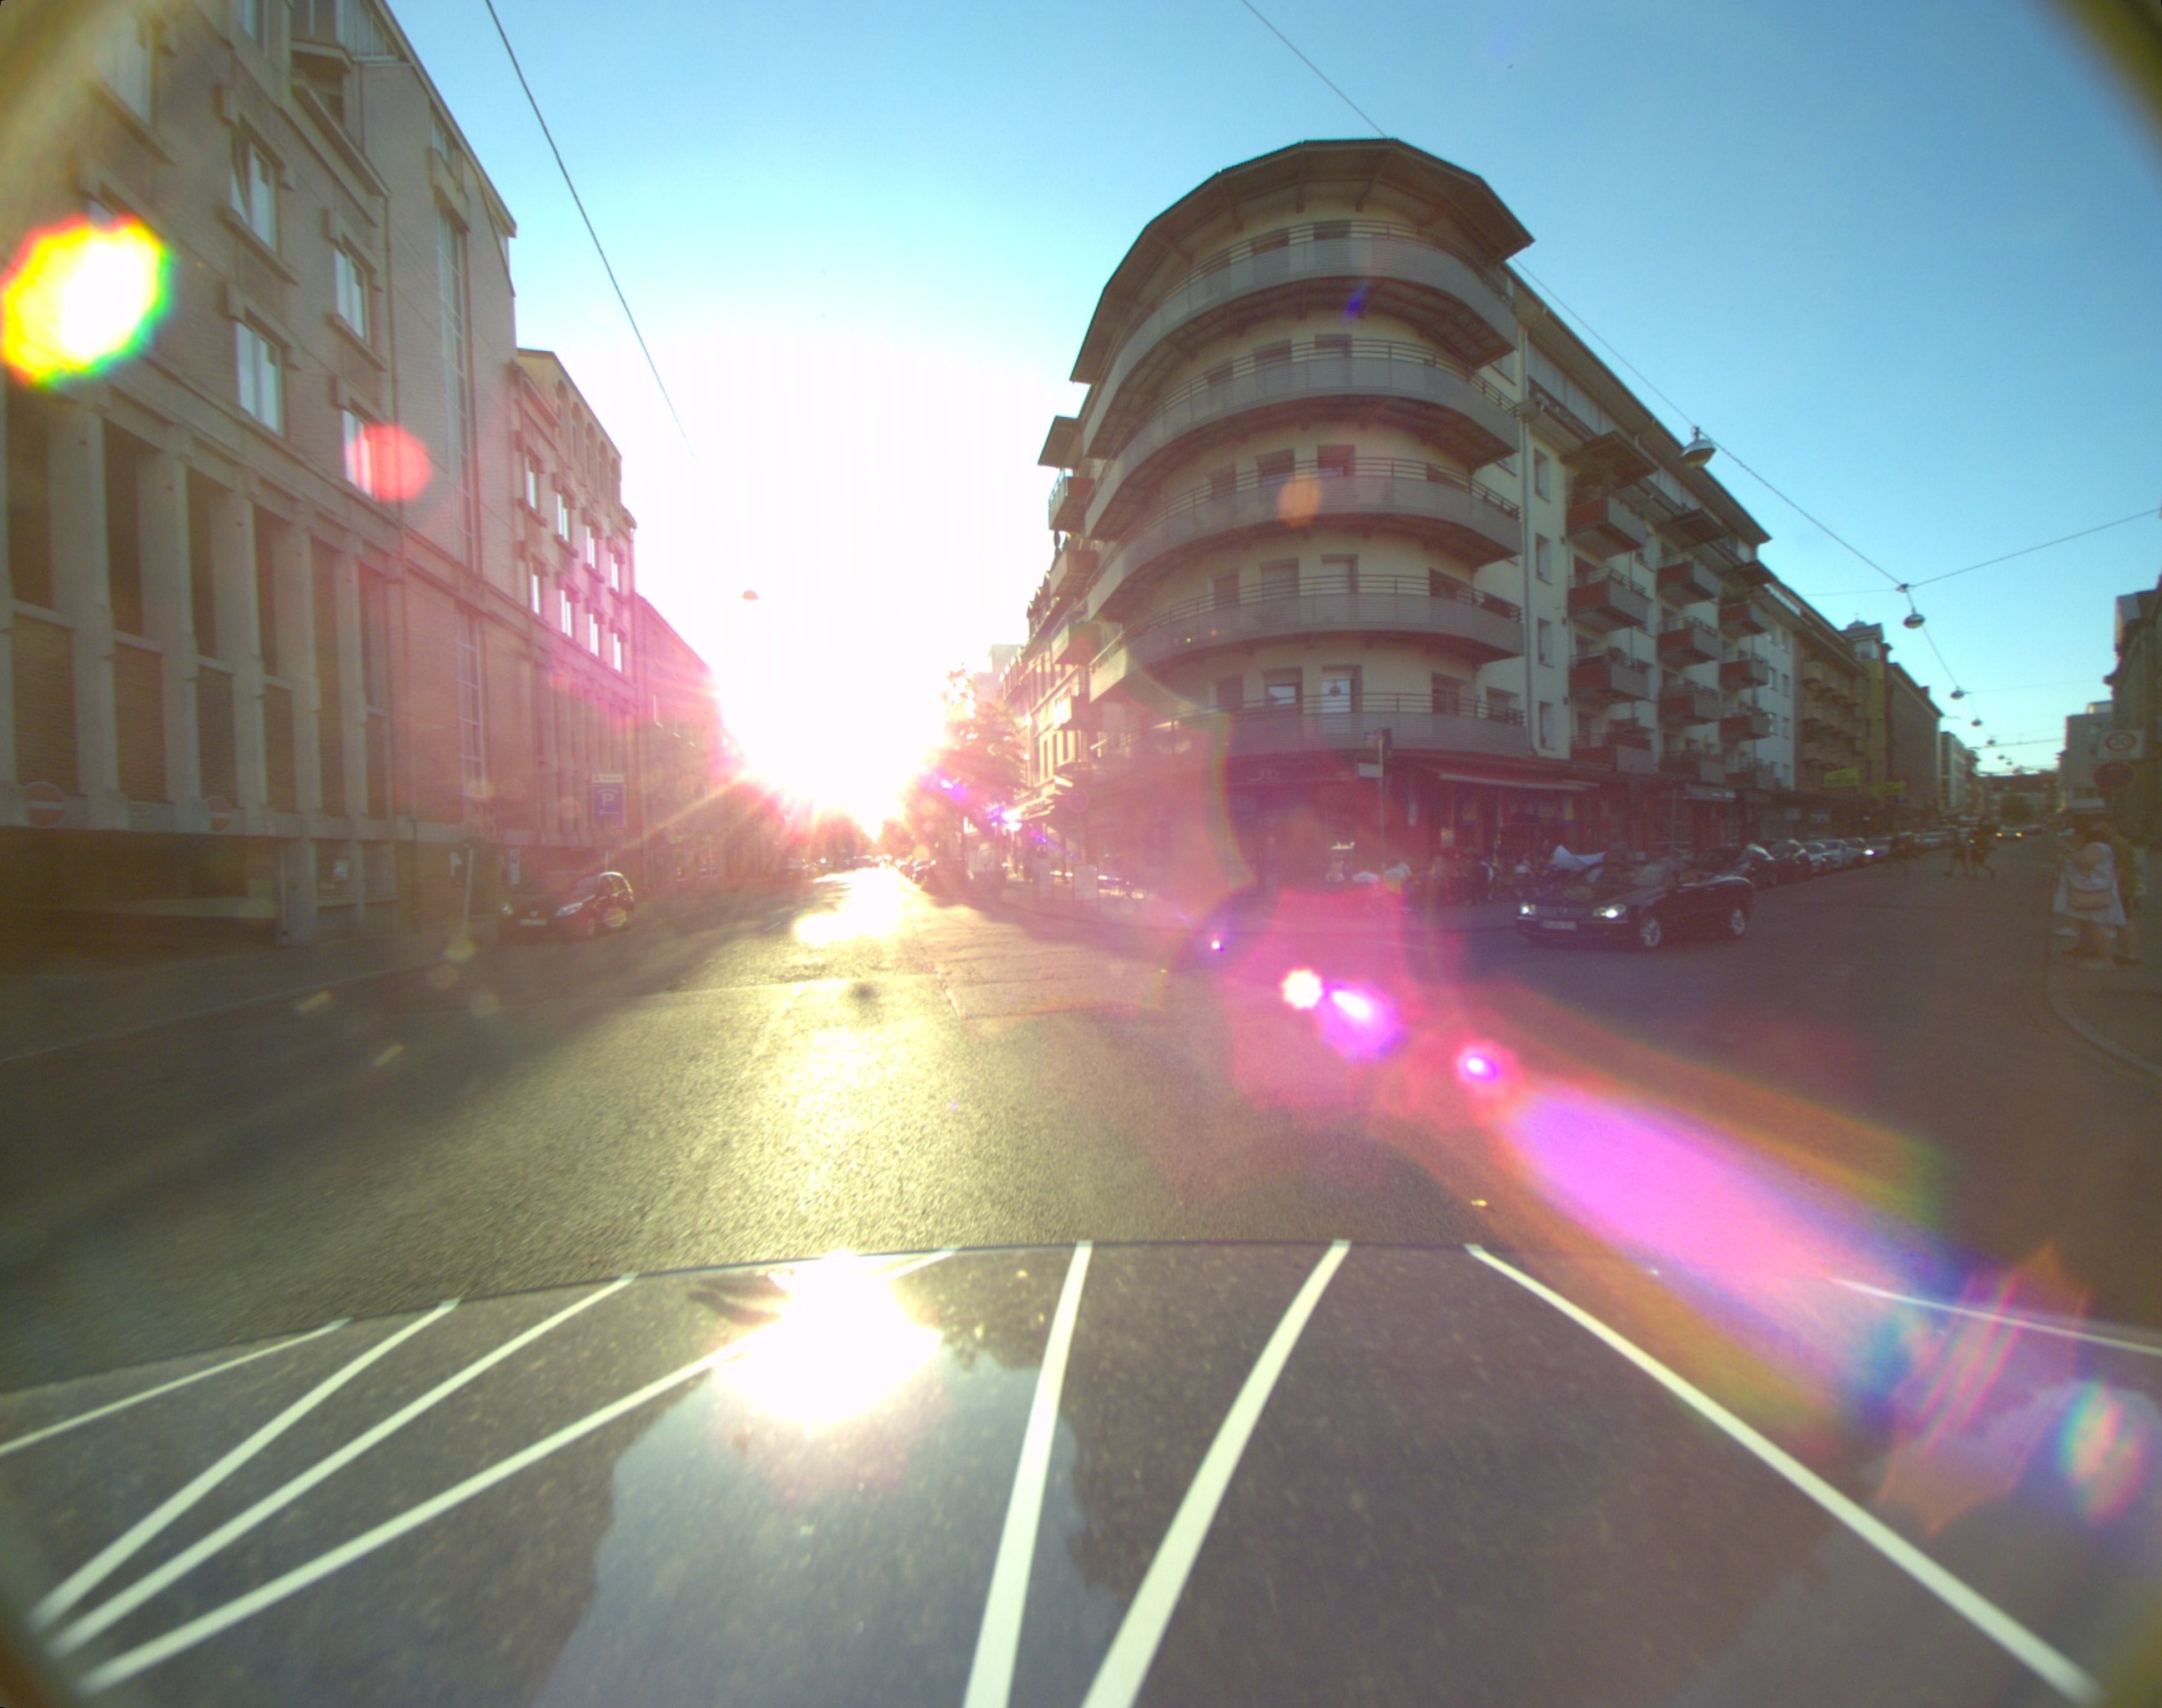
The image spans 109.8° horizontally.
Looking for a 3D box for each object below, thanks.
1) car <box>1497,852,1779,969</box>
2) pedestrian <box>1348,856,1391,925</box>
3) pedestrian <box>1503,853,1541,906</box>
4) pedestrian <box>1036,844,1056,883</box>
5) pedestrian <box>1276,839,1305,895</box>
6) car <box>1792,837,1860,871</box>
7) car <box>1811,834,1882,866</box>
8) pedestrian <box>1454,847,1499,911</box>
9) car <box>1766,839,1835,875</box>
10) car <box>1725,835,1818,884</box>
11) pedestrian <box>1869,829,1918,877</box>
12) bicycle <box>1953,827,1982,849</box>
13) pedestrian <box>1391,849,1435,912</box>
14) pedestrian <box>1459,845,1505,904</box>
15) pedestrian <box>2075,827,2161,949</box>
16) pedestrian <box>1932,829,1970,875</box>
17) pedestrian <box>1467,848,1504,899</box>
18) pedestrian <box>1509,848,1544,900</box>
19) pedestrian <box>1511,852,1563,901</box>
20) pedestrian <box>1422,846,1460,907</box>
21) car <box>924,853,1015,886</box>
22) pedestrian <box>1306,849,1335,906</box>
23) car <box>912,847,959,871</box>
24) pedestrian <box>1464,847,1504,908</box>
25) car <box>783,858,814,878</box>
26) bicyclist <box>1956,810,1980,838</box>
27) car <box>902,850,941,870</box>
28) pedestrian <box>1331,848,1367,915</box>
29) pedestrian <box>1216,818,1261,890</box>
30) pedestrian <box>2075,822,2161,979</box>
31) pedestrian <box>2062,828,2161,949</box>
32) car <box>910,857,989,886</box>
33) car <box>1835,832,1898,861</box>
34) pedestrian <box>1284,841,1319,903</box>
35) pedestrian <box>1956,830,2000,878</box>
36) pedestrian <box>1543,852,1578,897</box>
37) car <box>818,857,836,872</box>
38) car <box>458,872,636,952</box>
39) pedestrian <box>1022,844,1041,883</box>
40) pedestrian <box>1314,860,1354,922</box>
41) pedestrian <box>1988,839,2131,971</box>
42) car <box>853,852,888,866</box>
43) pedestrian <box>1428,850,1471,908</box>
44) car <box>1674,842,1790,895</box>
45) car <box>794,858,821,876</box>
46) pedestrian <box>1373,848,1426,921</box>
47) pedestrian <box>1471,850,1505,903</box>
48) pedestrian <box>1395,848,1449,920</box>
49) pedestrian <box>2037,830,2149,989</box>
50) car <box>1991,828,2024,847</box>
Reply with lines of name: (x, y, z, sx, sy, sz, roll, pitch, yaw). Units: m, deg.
car: (8.954, 0.761, 12.146, 4.623, 1.400, 1.806, -3, 2, -28)
pedestrian: (6.135, 0.753, 16.140, 0.769, 1.374, 0.840, -1, 2, 26)
pedestrian: (11.805, 0.664, 20.344, 0.751, 1.337, 0.653, -2, 3, -41)
pedestrian: (-1.830, 0.486, 39.506, 0.731, 1.937, 0.803, -2, 1, -20)
pedestrian: (6.748, 0.424, 24.494, 0.619, 1.766, 0.610, -2, 1, -41)
car: (35.621, 0.011, 36.301, 3.955, 1.468, 1.764, -2, -1, -38)
car: (39.209, -0.221, 38.892, 4.402, 1.468, 1.863, -2, -1, -36)
pedestrian: (9.898, 0.615, 19.020, 0.761, 1.528, 0.712, -2, 5, -42)
car: (31.324, 0.104, 33.058, 3.975, 1.395, 1.749, -2, -1, -40)
car: (26.258, 0.193, 28.852, 4.145, 1.689, 1.880, -2, -1, -38)
pedestrian: (32.247, -0.033, 30.167, 1.005, 1.816, 0.947, -2, 0, 25)
bicycle: (64.384, -1.190, 55.171, 2.826, 1.513, 1.036, -2, 1, -34)
pedestrian: (8.238, 0.648, 18.868, 0.648, 1.527, 0.752, -2, 0, -6)
pedestrian: (10.776, 0.549, 20.437, 0.681, 1.527, 0.851, -2, 0, -42)
pedestrian: (15.982, 0.507, 11.667, 0.738, 1.783, 0.810, -2, 0, -36)
pedestrian: (33.409, -0.084, 29.180, 0.704, 1.716, 0.918, -2, 1, -43)
pedestrian: (11.596, 0.551, 21.785, 0.603, 1.413, 0.713, -2, 0, -39)
pedestrian: (13.455, 0.601, 22.958, 0.851, 1.527, 0.716, -2, 0, 30)
pedestrian: (12.640, 0.607, 21.084, 0.854, 1.298, 0.876, -2, 2, -19)
pedestrian: (9.390, 0.579, 19.820, 0.656, 1.527, 0.673, -2, 3, -41)
car: (-5.851, 0.767, 39.744, 4.447, 1.533, 1.815, -2, 1, -16)
pedestrian: (7.560, 0.729, 23.951, 0.610, 1.766, 0.619, -1, 1, 44)
car: (-13.651, 0.466, 71.109, 4.003, 2.002, 1.997, -2, 1, -18)
pedestrian: (10.402, 0.590, 19.626, 0.701, 1.519, 0.648, -2, 5, -42)
car: (-23.440, 1.115, 63.121, 2.001, 1.543, 3.994, -2, 1, -16)
bicyclist: (64.531, -2.192, 55.284, 1.184, 2.002, 1.043, -3, 1, -36)
car: (-17.780, 0.682, 84.475, 4.003, 2.002, 1.997, -2, 1, -18)
pedestrian: (6.356, 0.649, 18.076, 0.713, 1.527, 0.854, -2, 0, 17)
pedestrian: (4.564, -0.005, 22.043, 0.863, 2.002, 0.813, -3, 1, -24)
pedestrian: (13.025, 0.556, 9.435, 0.854, 1.865, 0.712, -2, 0, -43)
pedestrian: (15.941, 0.509, 11.762, 0.870, 1.783, 0.850, -2, 0, -36)
car: (-7.276, 0.917, 41.895, 4.003, 1.412, 1.997, -2, 1, -18)
car: (45.015, -0.440, 43.533, 4.308, 1.468, 1.894, -2, -1, -36)
pedestrian: (7.302, 0.592, 25.126, 0.671, 2.002, 0.812, -2, 1, -39)
pedestrian: (33.274, 0.008, 28.192, 0.922, 1.716, 0.832, -2, 1, -25)
pedestrian: (14.211, 0.595, 22.531, 0.851, 1.271, 0.715, 0, 4, 30)
car: (-29.132, 1.198, 87.181, 1.758, 1.543, 4.281, -2, 1, -16)
car: (-12.019, 1.221, 17.474, 2.001, 1.511, 3.995, -1, 0, -14)
pedestrian: (-2.575, 0.481, 39.131, 0.731, 1.937, 0.739, -2, 1, -20)
pedestrian: (5.580, 0.799, 16.718, 0.684, 1.275, 0.969, -1, 3, 27)
pedestrian: (13.223, 0.659, 10.298, 0.714, 1.659, 0.882, -4, 1, -2)
car: (-31.634, 0.726, 114.137, 4.839, 2.002, 2.003, -1, 1, 22)
pedestrian: (9.868, 0.650, 20.345, 0.785, 1.495, 0.768, -2, 1, -41)
car: (21.586, 0.441, 25.141, 4.639, 1.543, 1.875, -2, -1, -36)
car: (-25.384, 1.195, 70.648, 2.001, 1.543, 3.994, -2, 1, -16)
pedestrian: (7.056, 0.659, 16.841, 0.690, 1.527, 0.713, -6, 3, -21)
pedestrian: (11.218, 0.608, 20.939, 0.562, 1.426, 0.665, -2, 3, -41)
pedestrian: (7.697, 0.648, 17.156, 0.854, 1.528, 0.712, -2, 5, -37)
pedestrian: (12.160, 0.632, 9.160, 0.884, 1.792, 0.712, -2, 0, -41)
car: (103.276, -1.869, 84.686, 4.006, 2.002, 1.995, -2, 1, -34)
